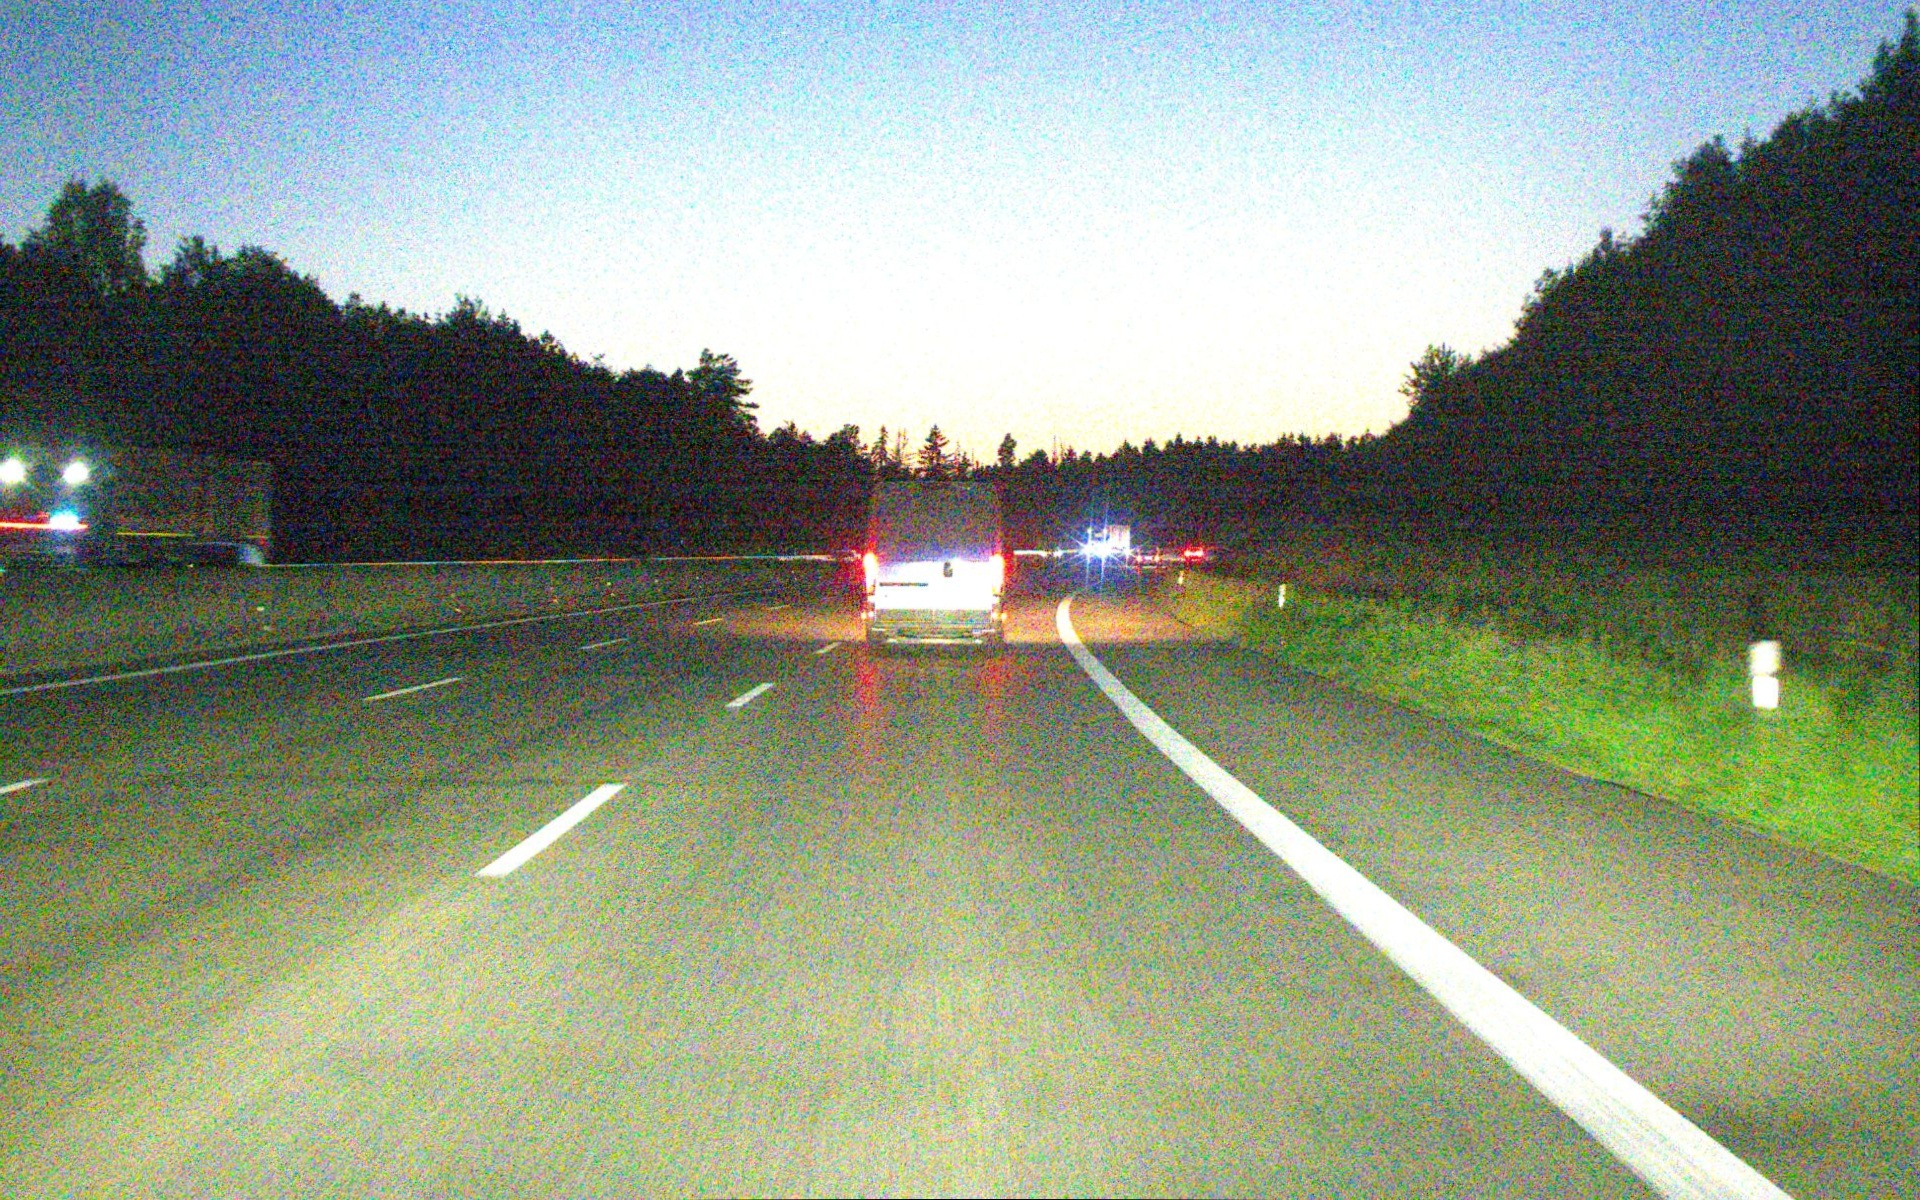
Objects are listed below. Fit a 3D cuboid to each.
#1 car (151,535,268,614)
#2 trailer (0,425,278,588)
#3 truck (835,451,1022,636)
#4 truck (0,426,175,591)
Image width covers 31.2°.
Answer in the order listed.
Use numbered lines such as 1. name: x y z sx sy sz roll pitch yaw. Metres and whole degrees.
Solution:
1. car: -16.189 -0.548 74.307 1.745 1.640 3.742 0 0 -1
2. trailer: -22.163 -2.386 93.365 3.543 3.986 17.283 0 1 1
3. truck: -0.422 -0.835 53.156 2.630 2.615 8.685 0 0 0
4. truck: -22.255 -2.226 86.048 3.502 3.956 6.699 0 0 2
